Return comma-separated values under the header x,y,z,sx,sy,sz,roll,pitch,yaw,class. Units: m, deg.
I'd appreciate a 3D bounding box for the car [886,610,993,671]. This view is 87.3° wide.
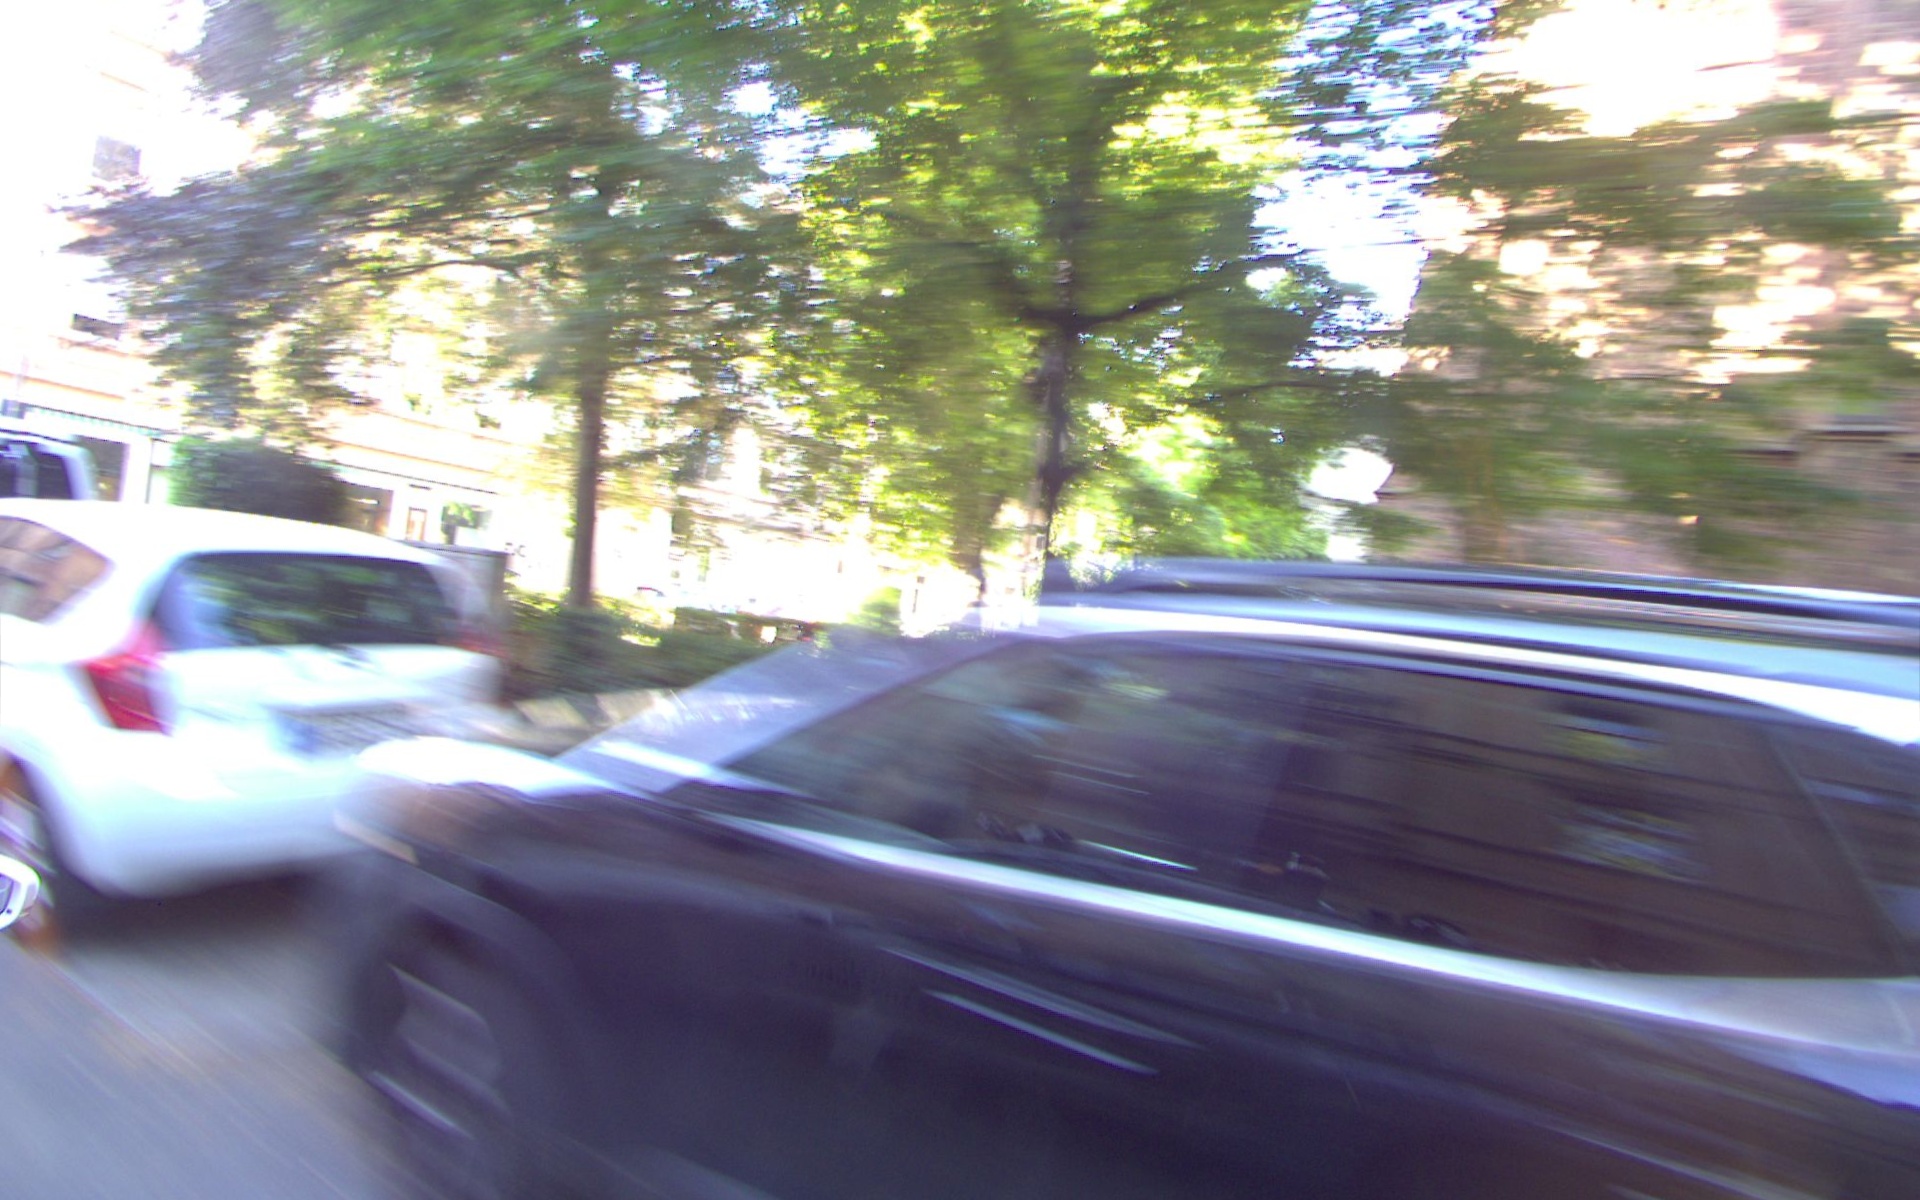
x,y,z,sx,sy,sz,roll,pitch,yaw,class
-0.634,1.397,33.693,1.610,1.667,3.531,4,-4,38,car

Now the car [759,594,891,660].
x,y,z,sx,sy,sz,roll,pitch,yaw,class
-3.798,0.806,28.790,1.610,1.489,3.531,4,-4,38,car

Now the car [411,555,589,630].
x,y,z,sx,sy,sz,roll,pitch,yaw,class
-12.004,-0.161,26.455,1.610,1.489,3.855,4,-4,38,car

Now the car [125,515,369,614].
x,y,z,sx,sy,sz,roll,pitch,yaw,class
-15.395,-0.719,21.899,1.736,1.626,3.919,4,-3,38,car

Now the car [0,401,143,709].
x,y,z,sx,sy,sz,roll,pitch,yaw,class
-8.392,-0.523,7.721,4.715,2.024,1.914,7,1,34,car

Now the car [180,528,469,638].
x,y,z,sx,sy,sz,roll,pitch,yaw,class
-11.254,-0.248,18.073,1.770,1.455,3.923,4,-4,35,car

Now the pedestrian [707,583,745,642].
x,y,z,sx,sy,sz,roll,pitch,yaw,class
-8.422,0.449,36.202,0.787,1.943,0.716,10,1,31,pedestrian

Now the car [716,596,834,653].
x,y,z,sx,sy,sz,roll,pitch,yaw,class
-6.216,0.859,34.114,1.610,1.489,3.689,4,-4,38,car

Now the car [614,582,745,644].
x,y,z,sx,sy,sz,roll,pitch,yaw,class
-8.553,0.432,30.893,1.610,1.489,3.531,4,-4,38,car

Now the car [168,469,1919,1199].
x,y,z,sx,sy,sz,roll,pitch,yaw,class
0.241,0.658,2.357,4.190,1.625,1.740,6,3,28,car

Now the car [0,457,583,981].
x,y,z,sx,sy,sz,roll,pitch,yaw,class
-3.842,0.268,4.780,3.763,1.590,1.722,6,-1,30,car
